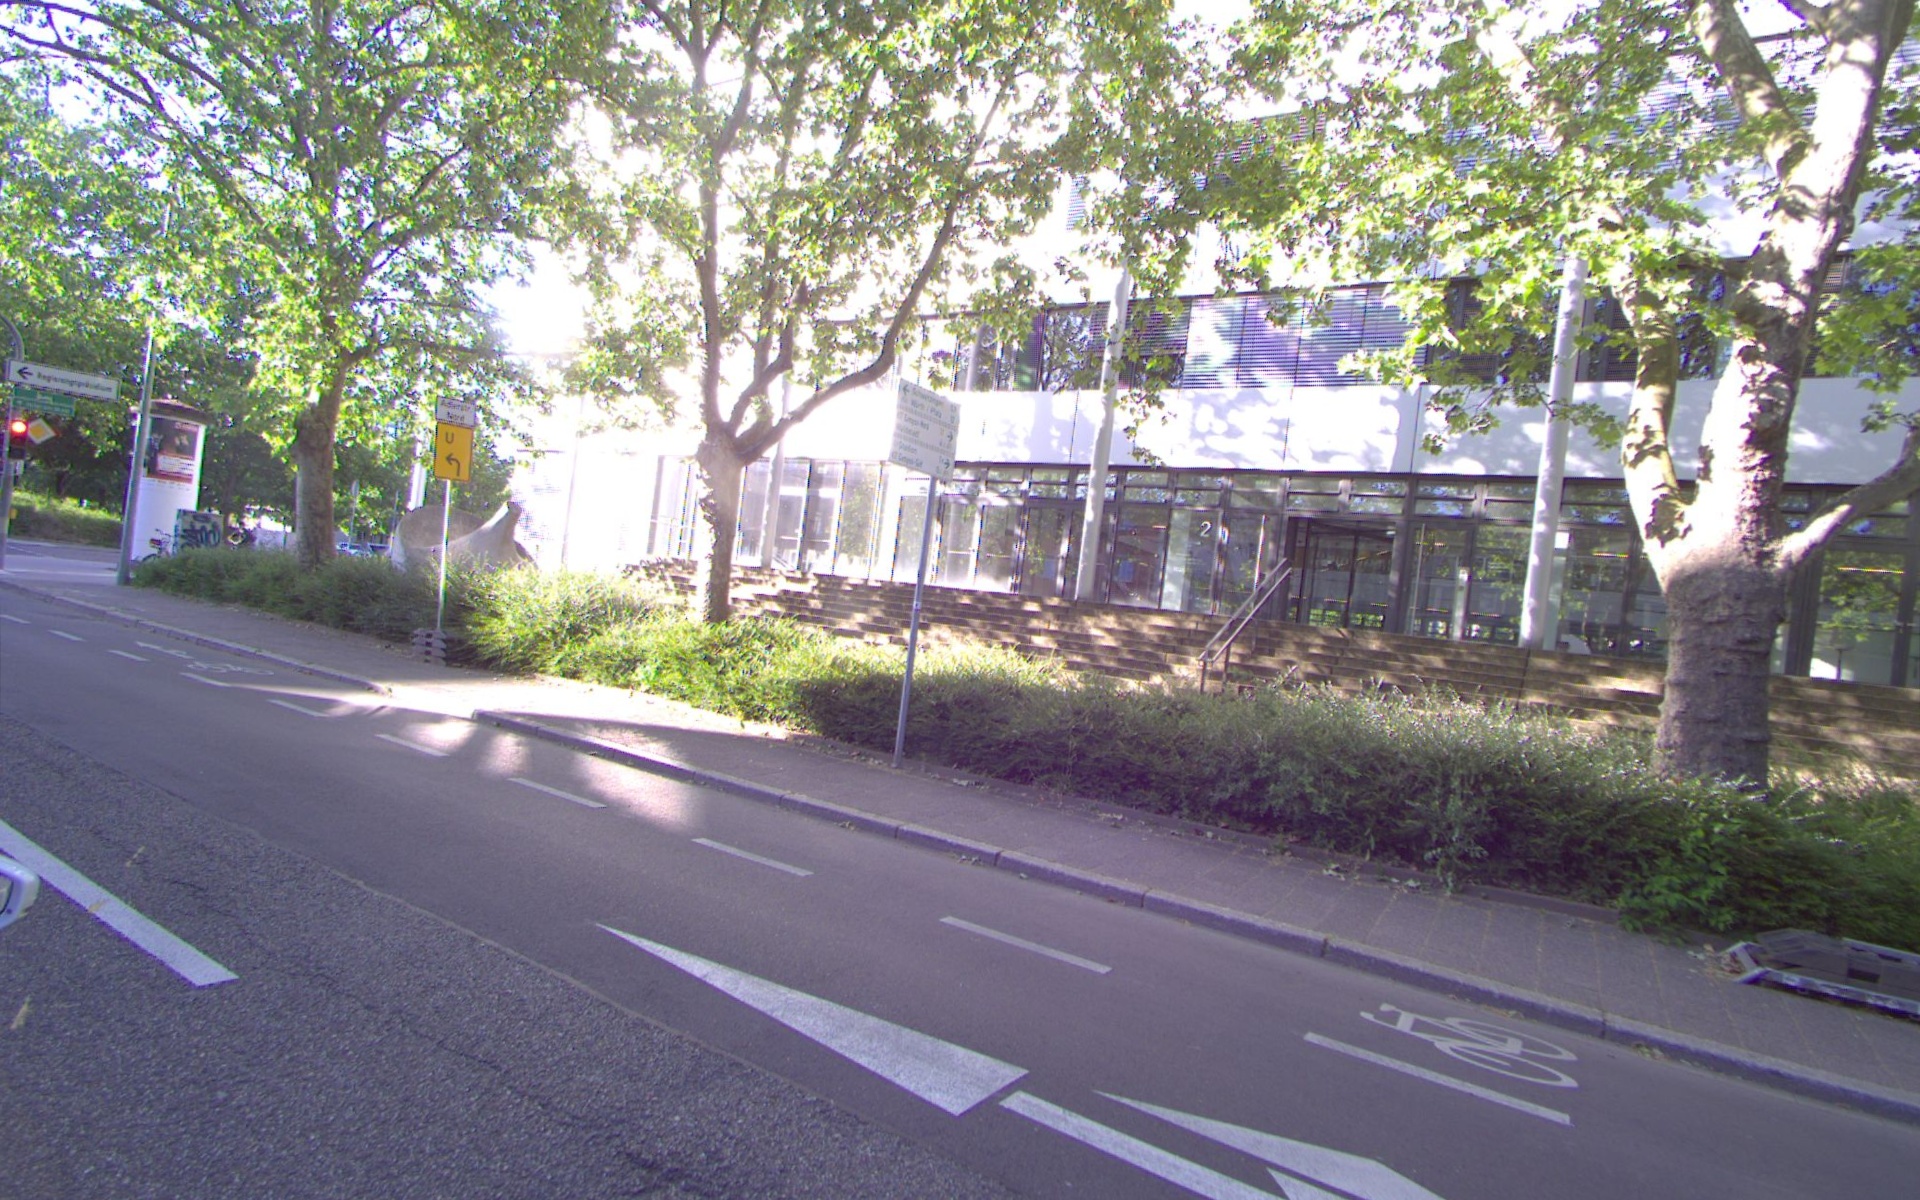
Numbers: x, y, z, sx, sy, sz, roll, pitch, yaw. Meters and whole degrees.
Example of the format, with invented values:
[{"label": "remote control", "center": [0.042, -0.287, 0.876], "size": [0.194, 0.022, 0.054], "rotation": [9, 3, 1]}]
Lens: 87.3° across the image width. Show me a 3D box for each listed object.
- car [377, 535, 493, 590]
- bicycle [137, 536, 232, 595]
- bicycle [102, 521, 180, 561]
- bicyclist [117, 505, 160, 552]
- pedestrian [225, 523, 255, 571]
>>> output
[{"label": "car", "center": [-23.396, -1.652, 44.951], "size": [1.969, 1.805, 3.998], "rotation": [7, -1, 36]}, {"label": "bicycle", "center": [-16.452, -0.709, 21.370], "size": [0.529, 1.049, 1.418], "rotation": [7, -1, 28]}, {"label": "bicycle", "center": [-30.943, -2.229, 38.039], "size": [0.869, 1.199, 2.004], "rotation": [7, -1, 22]}, {"label": "bicyclist", "center": [-30.938, -2.688, 37.895], "size": [0.869, 1.572, 0.816], "rotation": [7, 0, 22]}, {"label": "pedestrian", "center": [-28.748, -2.111, 40.178], "size": [0.620, 1.805, 0.620], "rotation": [7, 0, 34]}]
